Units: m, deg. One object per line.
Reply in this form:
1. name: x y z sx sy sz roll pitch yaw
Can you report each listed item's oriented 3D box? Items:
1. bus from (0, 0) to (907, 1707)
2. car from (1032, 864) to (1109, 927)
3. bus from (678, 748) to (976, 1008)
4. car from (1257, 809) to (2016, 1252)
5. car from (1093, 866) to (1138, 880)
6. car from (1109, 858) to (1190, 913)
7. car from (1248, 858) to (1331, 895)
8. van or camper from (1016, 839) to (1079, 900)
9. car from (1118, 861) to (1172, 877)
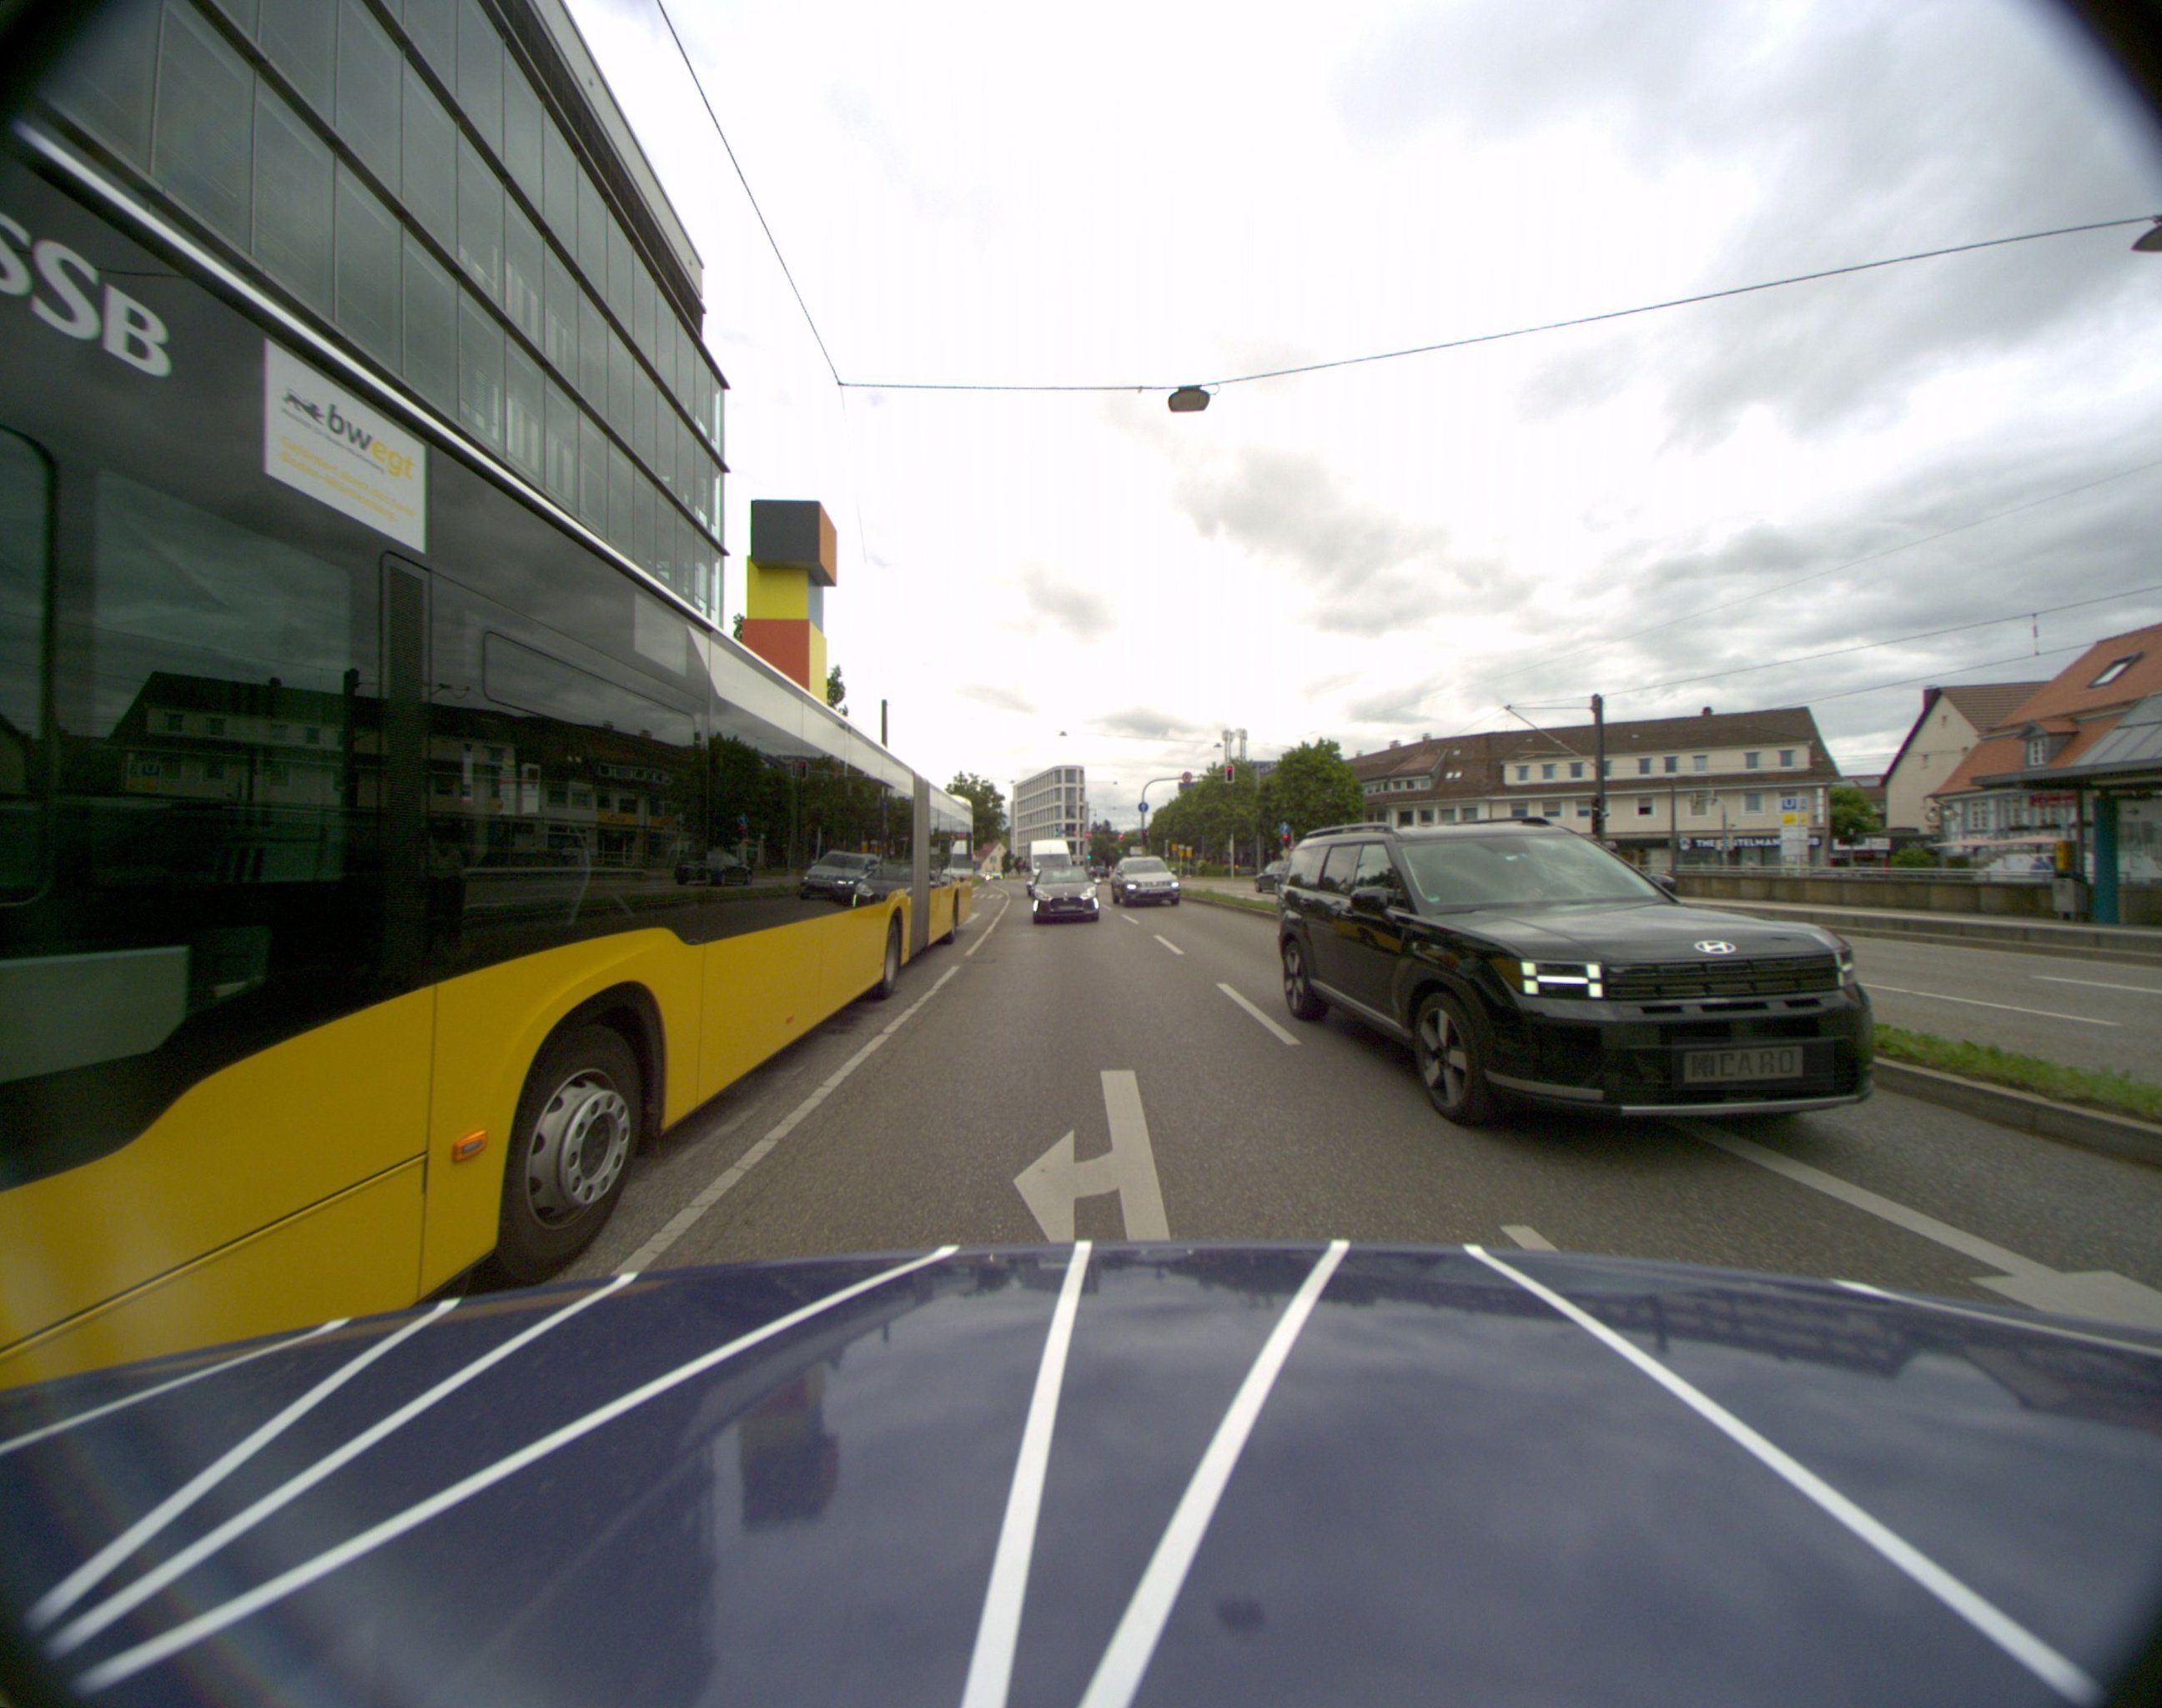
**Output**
1. bus: -3.247 0.157 4.525 2.720 3.145 9.125 1 0 -3
2. car: -0.331 1.032 20.511 1.864 1.516 3.999 0 0 -2
3. bus: -3.655 0.320 13.558 2.720 3.090 8.868 0 0 -3
4. car: 2.860 0.746 5.487 1.927 1.741 4.678 -3 0 -1
5. car: 3.726 2.047 81.640 4.820 1.348 1.994 0 -1 -44
6. car: 2.269 1.011 26.279 1.999 1.640 4.392 -2 0 -5
7. car: 9.075 0.953 33.515 1.999 1.503 4.642 0 0 -5
8. van or camper: -1.775 0.722 37.331 2.281 2.690 6.989 0 0 -10
9. car: 5.592 1.324 66.684 2.004 1.348 4.798 0 -1 -37
